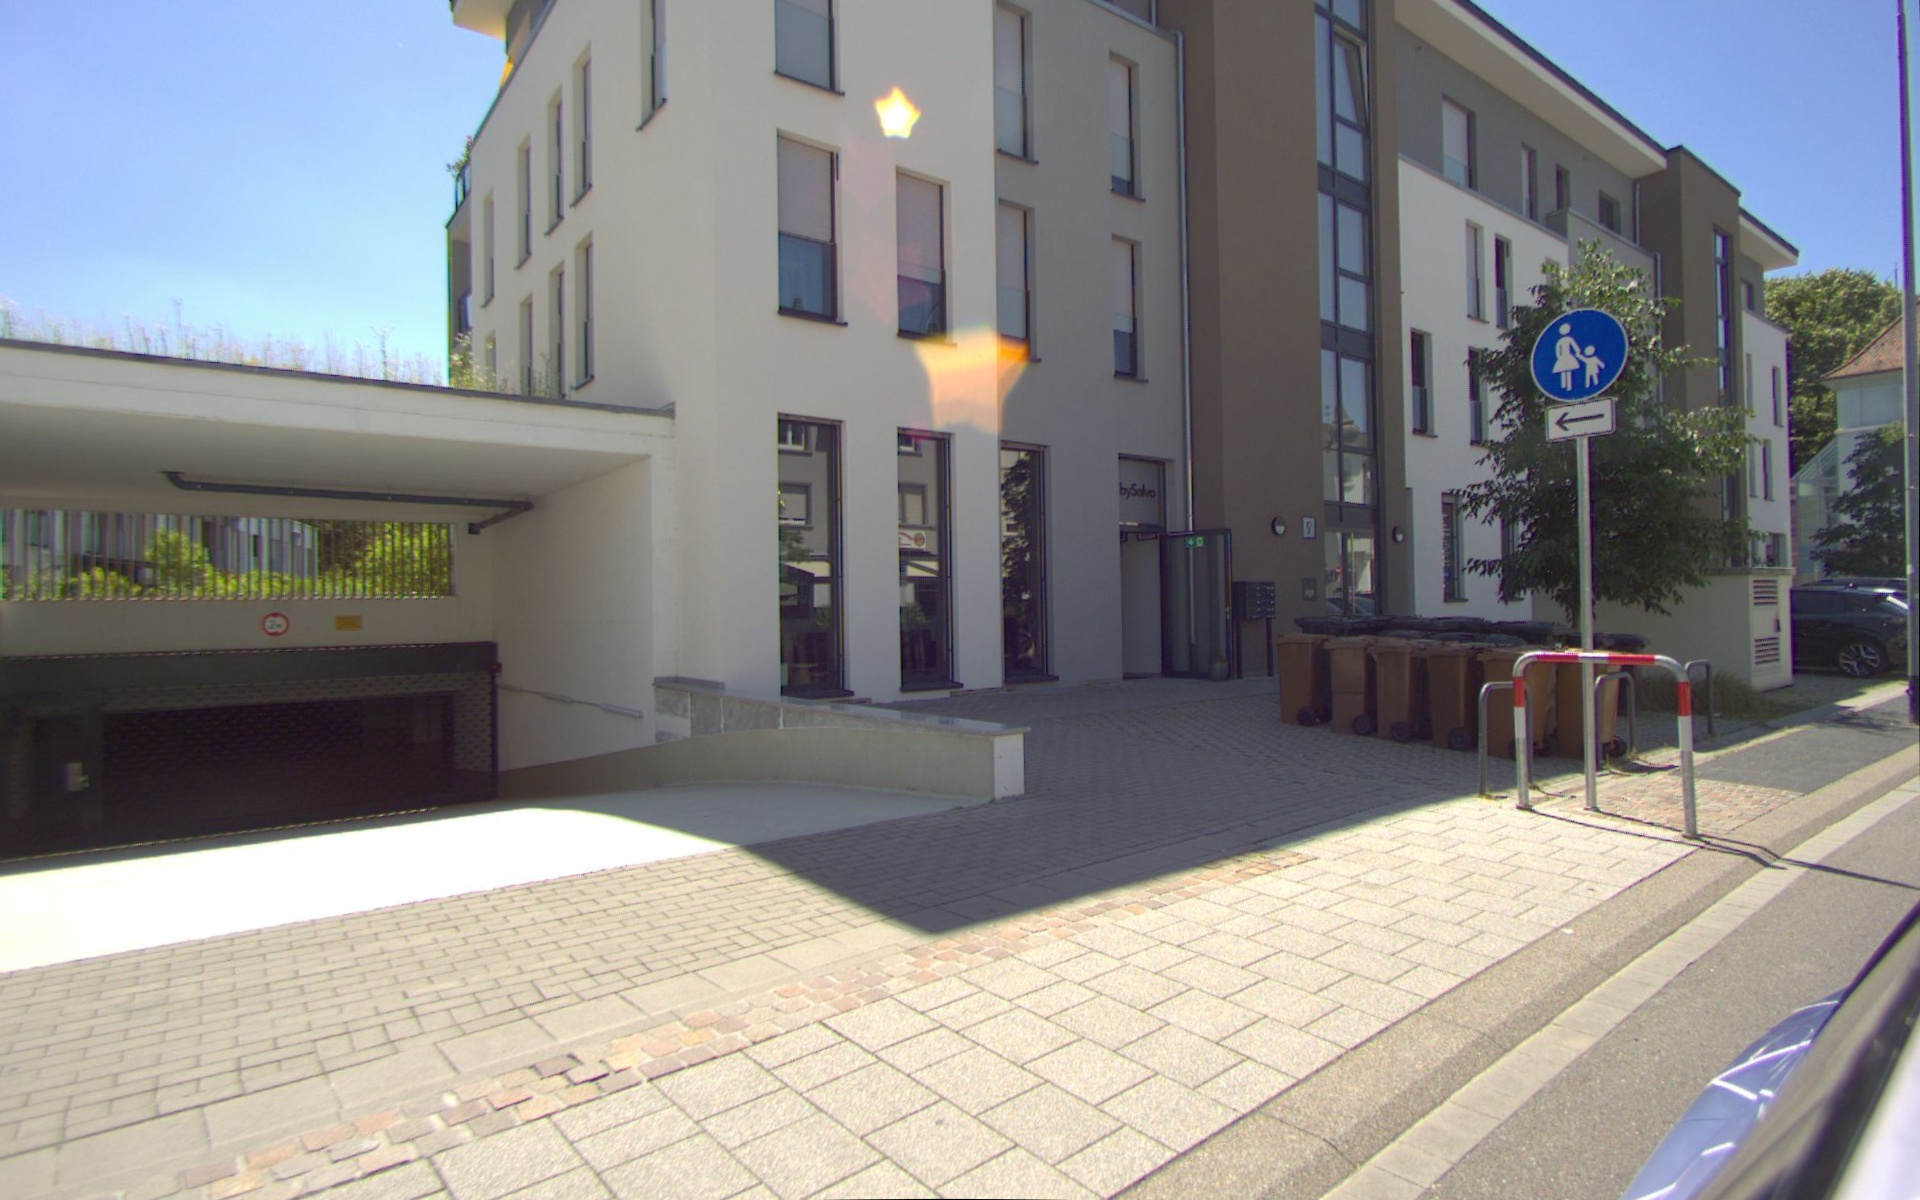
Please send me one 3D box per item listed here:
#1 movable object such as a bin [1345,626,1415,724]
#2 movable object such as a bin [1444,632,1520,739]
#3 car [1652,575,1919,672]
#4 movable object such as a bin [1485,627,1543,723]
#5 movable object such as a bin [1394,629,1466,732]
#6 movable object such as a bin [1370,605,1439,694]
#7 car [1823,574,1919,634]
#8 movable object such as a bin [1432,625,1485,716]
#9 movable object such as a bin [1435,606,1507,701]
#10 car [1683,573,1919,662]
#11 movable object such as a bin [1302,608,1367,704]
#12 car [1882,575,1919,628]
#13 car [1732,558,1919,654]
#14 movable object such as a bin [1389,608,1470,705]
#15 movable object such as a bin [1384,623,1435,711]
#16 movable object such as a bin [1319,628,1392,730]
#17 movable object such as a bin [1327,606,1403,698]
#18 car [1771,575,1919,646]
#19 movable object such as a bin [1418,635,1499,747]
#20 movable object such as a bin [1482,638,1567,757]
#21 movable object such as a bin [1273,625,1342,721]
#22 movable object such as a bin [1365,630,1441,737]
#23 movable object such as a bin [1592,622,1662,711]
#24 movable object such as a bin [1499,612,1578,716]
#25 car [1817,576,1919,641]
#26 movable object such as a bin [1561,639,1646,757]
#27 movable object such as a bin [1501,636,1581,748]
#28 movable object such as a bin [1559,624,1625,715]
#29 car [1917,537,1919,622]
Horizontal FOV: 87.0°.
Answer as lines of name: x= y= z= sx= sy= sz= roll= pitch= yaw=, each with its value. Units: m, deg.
movable object such as a bin: x=4.324 y=0.756 z=10.422 sx=0.512 sy=0.942 sz=0.466 roll=-1 pitch=1 yaw=-37
movable object such as a bin: x=4.953 y=0.797 z=9.597 sx=0.512 sy=0.942 sz=0.466 roll=-1 pitch=1 yaw=-37
car: x=14.266 y=0.316 z=17.345 sx=1.506 sy=1.463 sz=3.669 roll=-1 pitch=2 yaw=-35
movable object such as a bin: x=5.793 y=0.771 z=10.582 sx=0.513 sy=0.935 sz=0.433 roll=1 pitch=1 yaw=30
movable object such as a bin: x=4.641 y=0.780 z=10.001 sx=0.512 sy=0.942 sz=0.466 roll=-1 pitch=1 yaw=-37
movable object such as a bin: x=5.673 y=0.609 z=12.917 sx=0.645 sy=1.074 sz=0.616 roll=1 pitch=1 yaw=40
car: x=25.760 y=0.086 z=26.685 sx=1.623 sy=1.570 sz=4.355 roll=-1 pitch=0 yaw=-40
movable object such as a bin: x=5.450 y=0.757 z=11.061 sx=0.479 sy=0.935 sz=0.433 roll=1 pitch=1 yaw=30
movable object such as a bin: x=6.165 y=0.620 z=12.203 sx=0.645 sy=1.074 sz=0.616 roll=1 pitch=1 yaw=40
car: x=15.933 y=0.282 z=18.736 sx=1.746 sy=1.501 sz=3.816 roll=-1 pitch=0 yaw=-39
movable object such as a bin: x=4.394 y=0.639 z=11.873 sx=0.568 sy=1.054 sz=0.552 roll=1 pitch=1 yaw=39
car: x=29.857 y=0.032 z=29.366 sx=1.688 sy=1.549 sz=4.382 roll=-1 pitch=0 yaw=-37
car: x=18.088 y=0.096 z=20.320 sx=1.808 sy=1.809 sz=3.816 roll=-1 pitch=0 yaw=-39
movable object such as a bin: x=5.529 y=0.643 z=11.933 sx=0.613 sy=1.074 sz=0.648 roll=0 pitch=1 yaw=-36
movable object such as a bin: x=5.070 y=0.744 z=11.419 sx=0.479 sy=0.935 sz=0.433 roll=1 pitch=1 yaw=30
movable object such as a bin: x=3.918 y=0.770 z=10.033 sx=0.518 sy=0.942 sz=0.474 roll=-1 pitch=1 yaw=-37
movable object such as a bin: x=5.020 y=0.624 z=12.547 sx=0.613 sy=1.074 sz=0.648 roll=0 pitch=1 yaw=-36
car: x=20.241 y=0.201 z=22.185 sx=1.588 sy=1.480 sz=3.616 roll=-1 pitch=1 yaw=-38
movable object such as a bin: x=4.541 y=0.807 z=9.222 sx=0.518 sy=0.942 sz=0.474 roll=-1 pitch=1 yaw=-37
movable object such as a bin: x=4.878 y=0.823 z=8.744 sx=0.518 sy=0.942 sz=0.474 roll=-1 pitch=1 yaw=-37
movable object such as a bin: x=3.627 y=0.748 z=10.563 sx=0.518 sy=0.942 sz=0.474 roll=-1 pitch=1 yaw=-37
movable object such as a bin: x=4.221 y=0.779 z=9.640 sx=0.518 sy=0.942 sz=0.474 roll=-1 pitch=1 yaw=-37
movable object such as a bin: x=7.543 y=0.739 z=11.442 sx=0.458 sy=0.942 sz=0.562 roll=-1 pitch=1 yaw=-43
movable object such as a bin: x=6.361 y=0.681 z=11.127 sx=0.550 sy=1.074 sz=0.570 roll=0 pitch=1 yaw=-36
car: x=22.421 y=0.180 z=23.337 sx=1.622 sy=1.481 sz=3.817 roll=-1 pitch=0 yaw=-38
movable object such as a bin: x=5.557 y=0.825 z=8.742 sx=0.518 sy=0.942 sz=0.474 roll=-1 pitch=1 yaw=-37
movable object such as a bin: x=5.264 y=0.817 z=9.175 sx=0.518 sy=0.942 sz=0.468 roll=-1 pitch=1 yaw=-37
movable object such as a bin: x=6.984 y=0.749 z=11.185 sx=0.458 sy=0.942 sz=0.513 roll=-1 pitch=1 yaw=-43
car: x=33.772 y=-0.689 z=32.007 sx=1.817 sy=2.770 sz=4.868 roll=-1 pitch=0 yaw=-37
